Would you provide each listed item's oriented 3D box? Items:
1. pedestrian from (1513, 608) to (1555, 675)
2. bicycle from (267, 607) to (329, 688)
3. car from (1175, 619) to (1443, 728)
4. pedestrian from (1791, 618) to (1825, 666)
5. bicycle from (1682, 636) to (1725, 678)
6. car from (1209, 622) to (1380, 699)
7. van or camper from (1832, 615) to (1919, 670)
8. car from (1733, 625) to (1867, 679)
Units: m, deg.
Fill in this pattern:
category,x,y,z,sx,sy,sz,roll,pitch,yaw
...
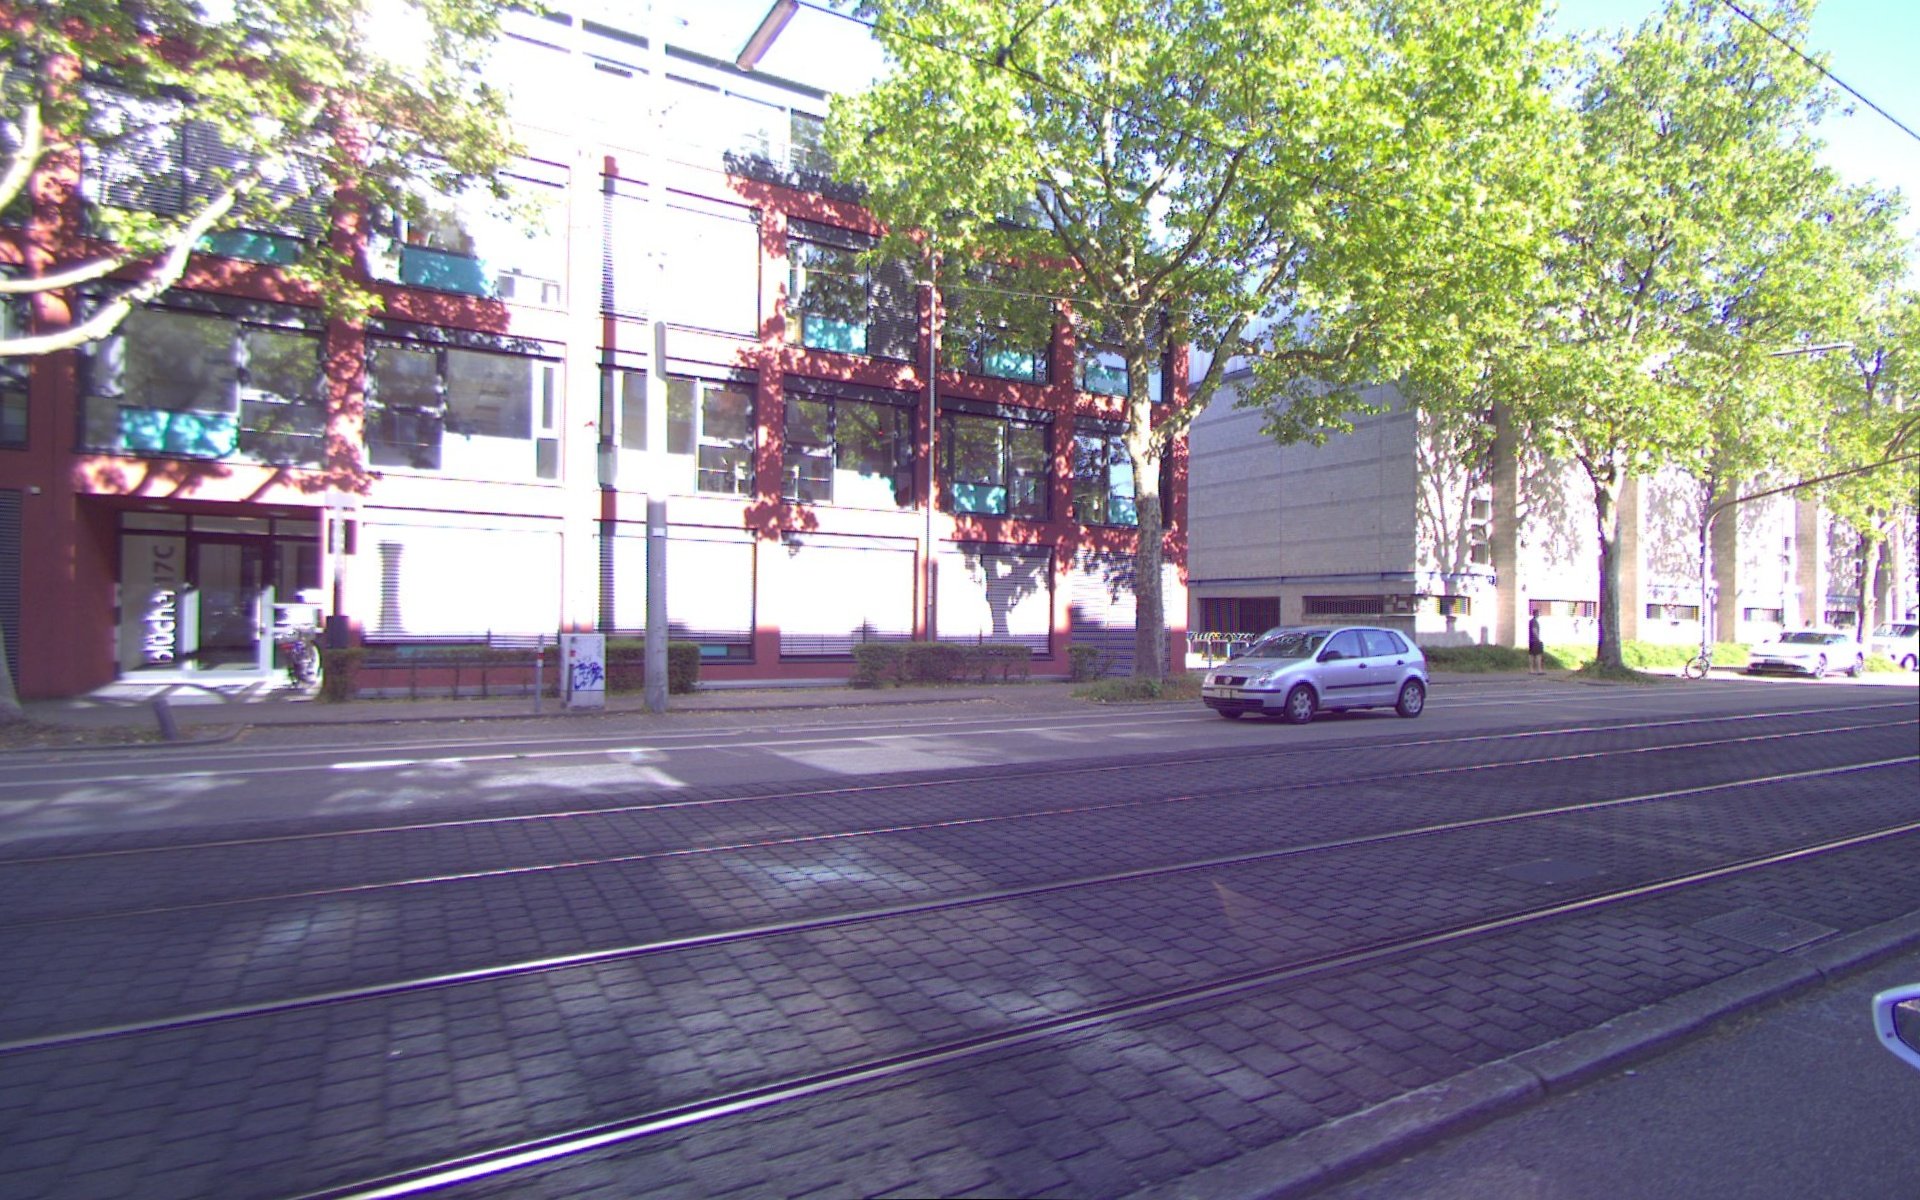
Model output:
category,x,y,z,sx,sy,sz,roll,pitch,yaw
pedestrian,16.602,1.182,29.049,0.662,1.895,0.782,1,1,-27
bicycle,-11.591,0.787,17.639,0.610,1.289,2.055,1,1,-25
car,5.550,1.114,15.922,4.019,1.538,1.747,1,-3,-28
pedestrian,33.196,1.643,39.340,0.662,1.845,0.793,0,1,-30
bicycle,22.731,1.723,30.697,1.638,1.225,0.577,0,1,-36
car,7.030,1.212,21.043,3.420,1.473,1.501,1,-1,-29
van or camper,36.496,1.613,38.334,5.096,1.976,2.063,1,1,-10
car,27.698,1.659,33.110,4.640,1.594,2.001,1,1,-32
